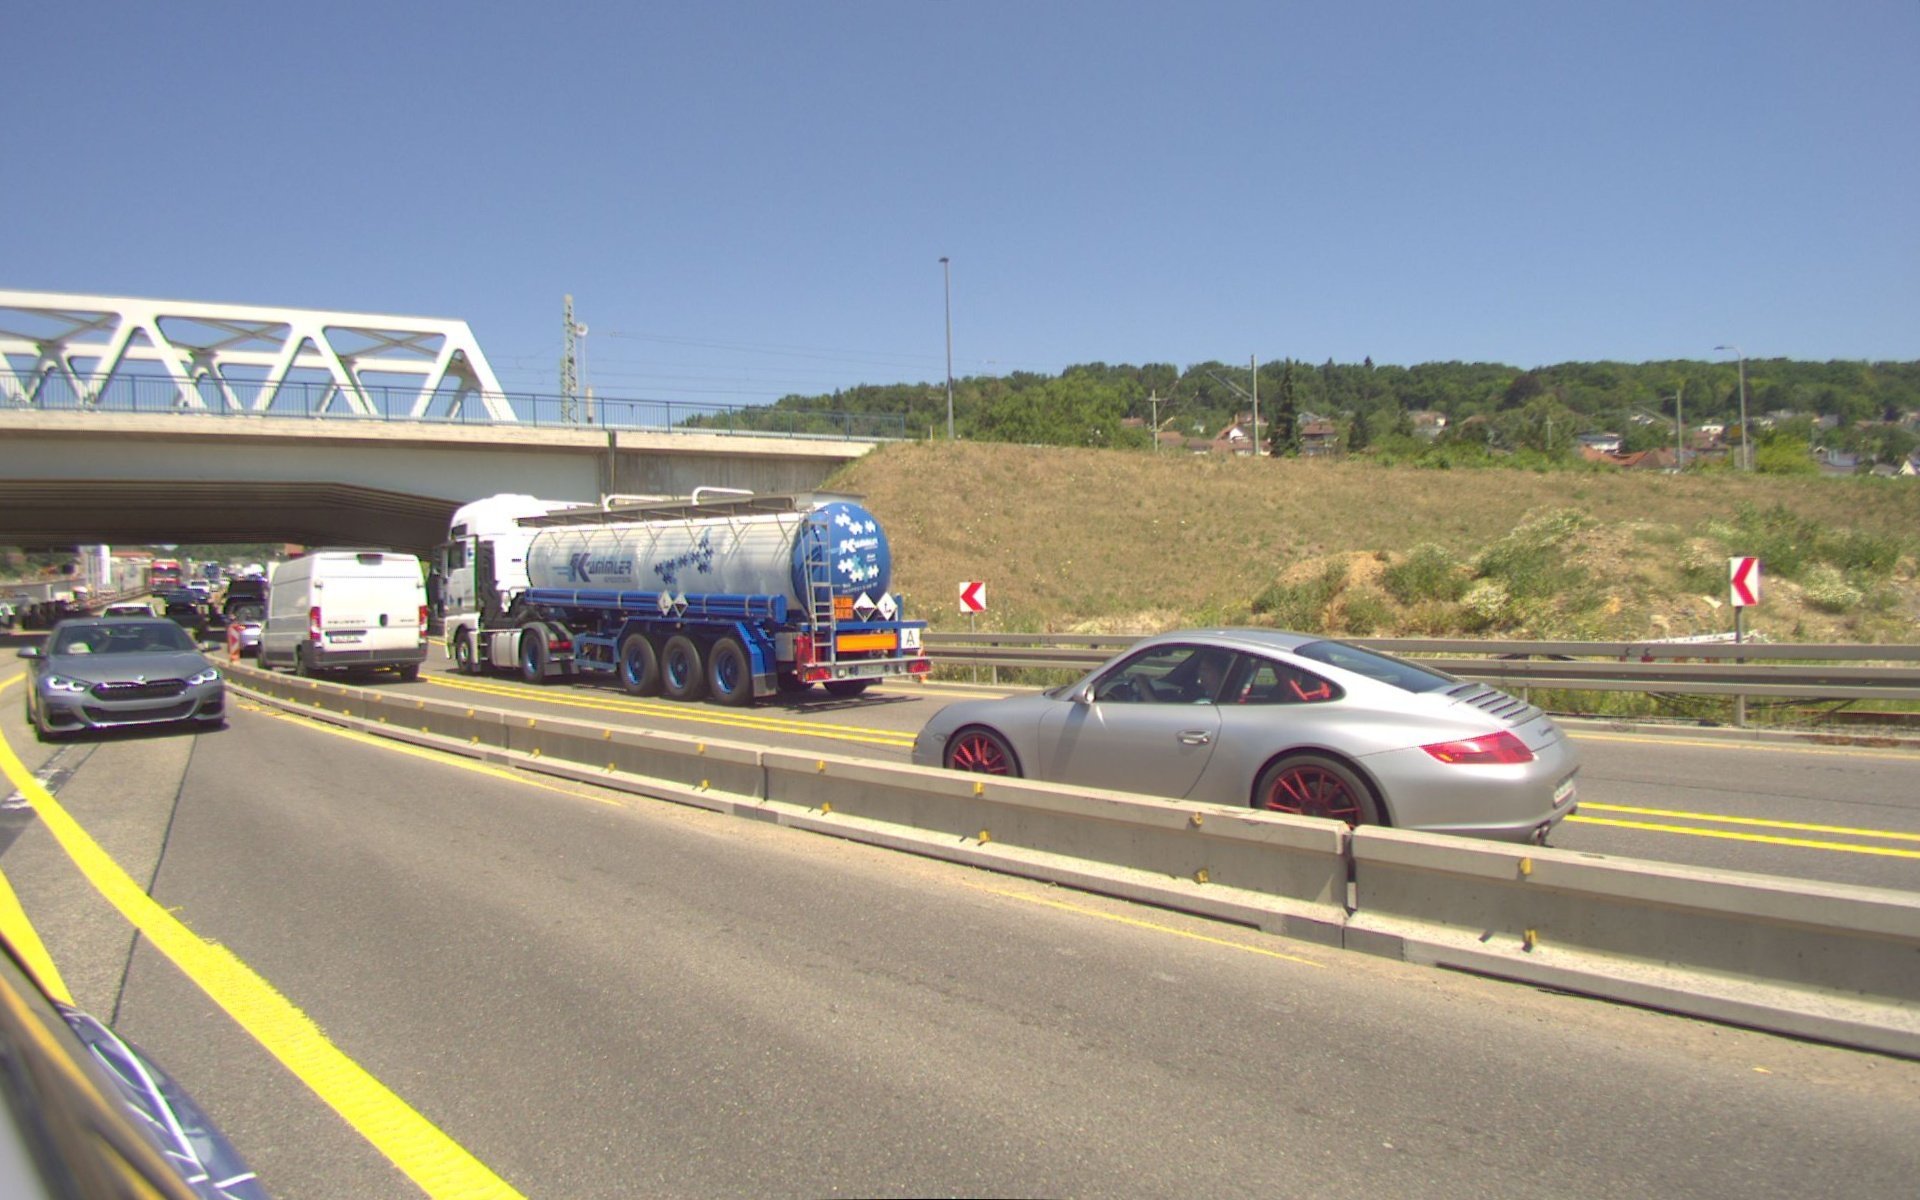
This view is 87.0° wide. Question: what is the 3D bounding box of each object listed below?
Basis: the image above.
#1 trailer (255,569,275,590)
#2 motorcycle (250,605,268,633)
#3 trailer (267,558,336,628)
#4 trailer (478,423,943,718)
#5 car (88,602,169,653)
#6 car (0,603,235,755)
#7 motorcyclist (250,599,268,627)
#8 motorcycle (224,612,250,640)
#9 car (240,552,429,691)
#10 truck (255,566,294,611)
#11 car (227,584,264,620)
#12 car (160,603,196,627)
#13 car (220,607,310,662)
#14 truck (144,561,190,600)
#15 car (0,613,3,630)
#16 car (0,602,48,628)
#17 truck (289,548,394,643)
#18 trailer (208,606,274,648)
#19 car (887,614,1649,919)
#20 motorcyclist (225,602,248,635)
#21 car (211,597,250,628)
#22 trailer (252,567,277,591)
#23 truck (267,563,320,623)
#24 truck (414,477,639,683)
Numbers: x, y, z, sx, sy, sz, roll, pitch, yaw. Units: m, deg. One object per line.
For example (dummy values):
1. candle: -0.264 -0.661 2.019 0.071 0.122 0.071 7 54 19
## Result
1. trailer: -135.055 -3.987 196.737 2.564 3.899 11.308 -1 2 -32
2. motorcycle: -35.584 0.954 51.358 0.693 1.289 2.741 -1 1 -36
3. trailer: -43.273 -0.497 66.240 2.839 4.070 14.391 -3 2 -36
4. trailer: -4.899 -0.392 17.501 10.244 3.817 2.498 0 1 43
5. car: -28.576 0.887 34.893 1.809 1.484 4.401 -1 2 -35
6. car: -11.004 0.861 13.099 4.390 1.609 1.814 0 1 43
7. motorcyclist: -35.621 0.654 51.442 0.709 1.427 0.744 -1 2 -38
8. motorcycle: -32.473 1.145 45.416 0.822 1.158 2.796 -1 1 -38
9. car: -13.376 0.381 21.395 2.047 2.522 6.489 -1 1 -44
10. truck: -71.038 -1.326 104.762 2.733 4.345 13.522 -1 2 -37
11. car: -49.305 0.066 69.888 1.954 2.347 6.074 -1 1 -35
12. car: -54.890 1.034 70.990 1.774 1.563 4.006 -1 1 -41
13. car: -20.777 0.957 30.180 1.821 1.475 4.531 -1 0 -39
14. truck: -87.305 -2.276 111.581 3.408 4.077 10.238 -1 2 -35
15. car: -106.432 2.417 108.932 4.726 1.782 1.724 -3 2 -35
16. car: -108.839 1.804 115.829 2.054 2.600 6.223 -1 3 41
17. truck: -26.235 -0.204 42.707 2.781 3.602 8.515 -1 1 -38
18. trailer: -27.349 0.990 38.429 1.644 1.442 4.006 -1 1 -41
19. car: 1.662 0.799 6.459 4.334 1.274 1.659 -2 0 41
20. motorcyclist: -32.317 0.806 45.216 0.800 1.427 0.744 -1 2 -38
21. car: -41.502 0.710 57.554 1.723 1.683 4.088 -1 0 -36
22. trailer: -119.253 -3.648 173.599 2.619 3.844 11.858 -1 2 -31
23. truck: -47.641 -0.527 72.306 2.835 4.081 4.897 -3 2 -35
24. truck: -9.324 -0.393 21.566 4.949 3.850 2.507 -1 1 42
